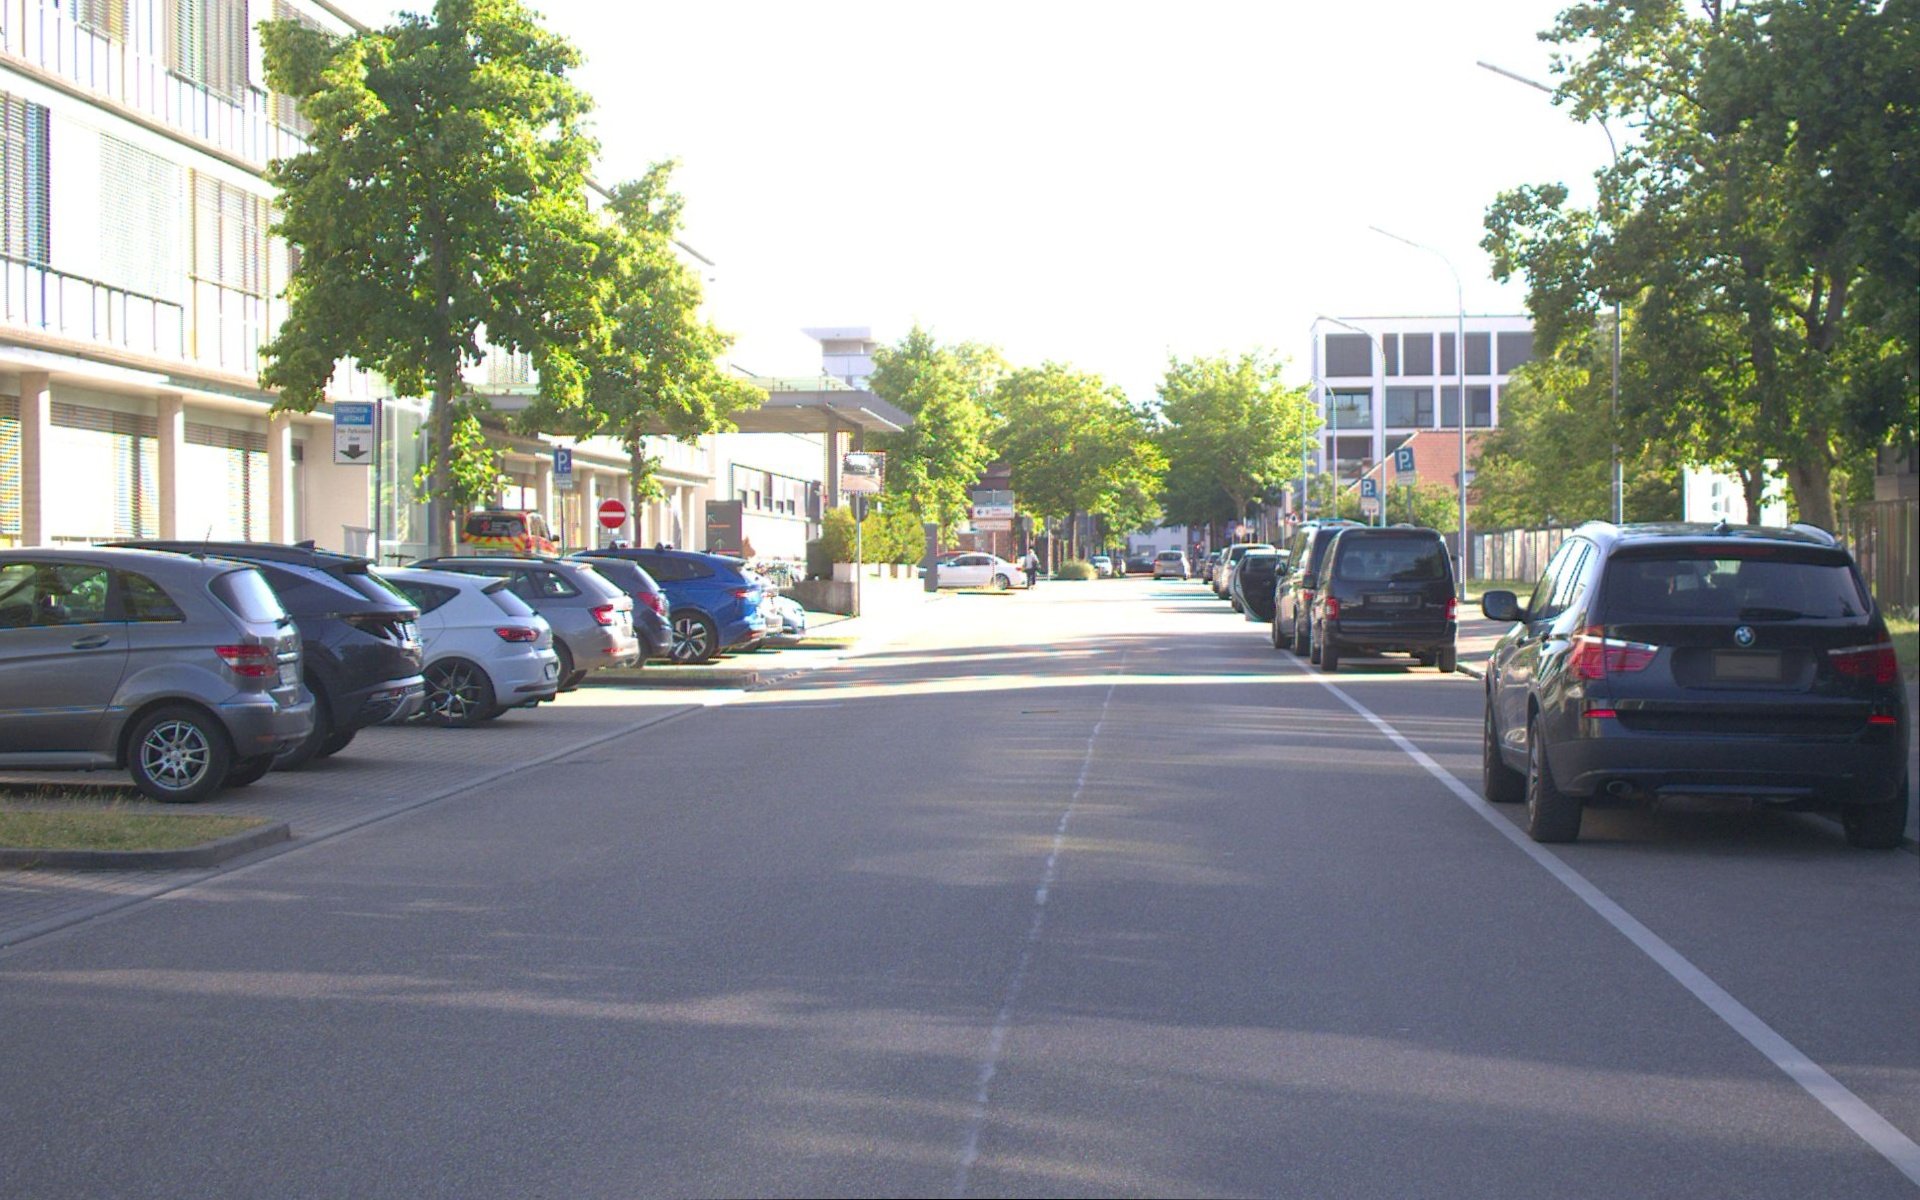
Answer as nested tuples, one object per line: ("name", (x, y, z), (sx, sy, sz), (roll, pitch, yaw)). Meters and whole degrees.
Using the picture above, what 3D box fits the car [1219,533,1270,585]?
("car", (8.665, -1.265, 104.816), (1.436, 1.555, 3.042), (0, 1, 3))

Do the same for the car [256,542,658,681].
("car", (-5.571, 0.110, 38.436), (4.214, 1.457, 1.872), (1, 1, 0))

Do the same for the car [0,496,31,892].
("car", (-6.886, 0.414, 15.716), (4.743, 1.858, 1.827), (1, 1, 4))

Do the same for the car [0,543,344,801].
("car", (-6.233, 0.430, 22.682), (3.987, 1.601, 1.872), (1, 1, 0))

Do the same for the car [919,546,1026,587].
("car", (0.494, -1.292, 131.831), (3.987, 1.514, 2.000), (0, 0, 4))

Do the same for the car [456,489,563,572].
("car", (-11.456, -1.746, 87.682), (1.994, 2.007, 3.999), (0, 0, 3))

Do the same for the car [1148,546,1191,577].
("car", (10.588, -1.964, 173.798), (1.744, 1.538, 3.998), (0, 1, 10))

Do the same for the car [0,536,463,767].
("car", (-5.986, 0.345, 25.626), (4.246, 1.606, 2.048), (1, 1, 0))

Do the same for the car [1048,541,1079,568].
("car", (5.976, -2.636, 197.994), (1.727, 1.531, 4.000), (-1, 1, 2))

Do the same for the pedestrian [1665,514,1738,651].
("pedestrian", (9.276, -0.223, 43.030), (0.698, 1.655, 0.752), (-3, 1, 3))

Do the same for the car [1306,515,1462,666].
("car", (5.352, -0.142, 43.794), (1.733, 1.824, 3.905), (-1, 1, 4))

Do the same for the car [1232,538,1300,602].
("car", (7.396, -0.736, 83.303), (1.497, 1.474, 3.649), (-2, 1, 3))

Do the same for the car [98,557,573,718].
("car", (-5.617, 0.319, 31.251), (3.987, 1.354, 1.743), (1, 1, 0))

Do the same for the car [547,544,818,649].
("car", (-4.266, -0.065, 53.324), (3.987, 1.546, 2.000), (-1, 1, 1))

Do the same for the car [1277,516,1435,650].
("car", (5.712, -0.278, 50.024), (1.994, 1.816, 4.198), (-2, 1, 3))

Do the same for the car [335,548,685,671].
("car", (-5.706, 0.104, 43.933), (4.214, 1.481, 1.872), (1, 1, 0))

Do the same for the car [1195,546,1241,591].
("car", (11.717, -1.413, 156.399), (1.994, 2.007, 3.999), (0, 0, 3))

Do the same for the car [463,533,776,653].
("car", (-4.751, -0.118, 48.401), (4.214, 1.597, 1.872), (1, 1, 0))

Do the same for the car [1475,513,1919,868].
("car", (3.920, 0.375, 18.880), (1.812, 1.660, 4.592), (1, 2, 4))

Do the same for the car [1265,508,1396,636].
("car", (6.029, -0.474, 56.261), (1.875, 1.971, 4.000), (-2, 1, 3))

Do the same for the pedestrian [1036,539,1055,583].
("pedestrian", (3.205, -1.449, 128.606), (0.618, 1.618, 0.716), (-2, 1, 3))
